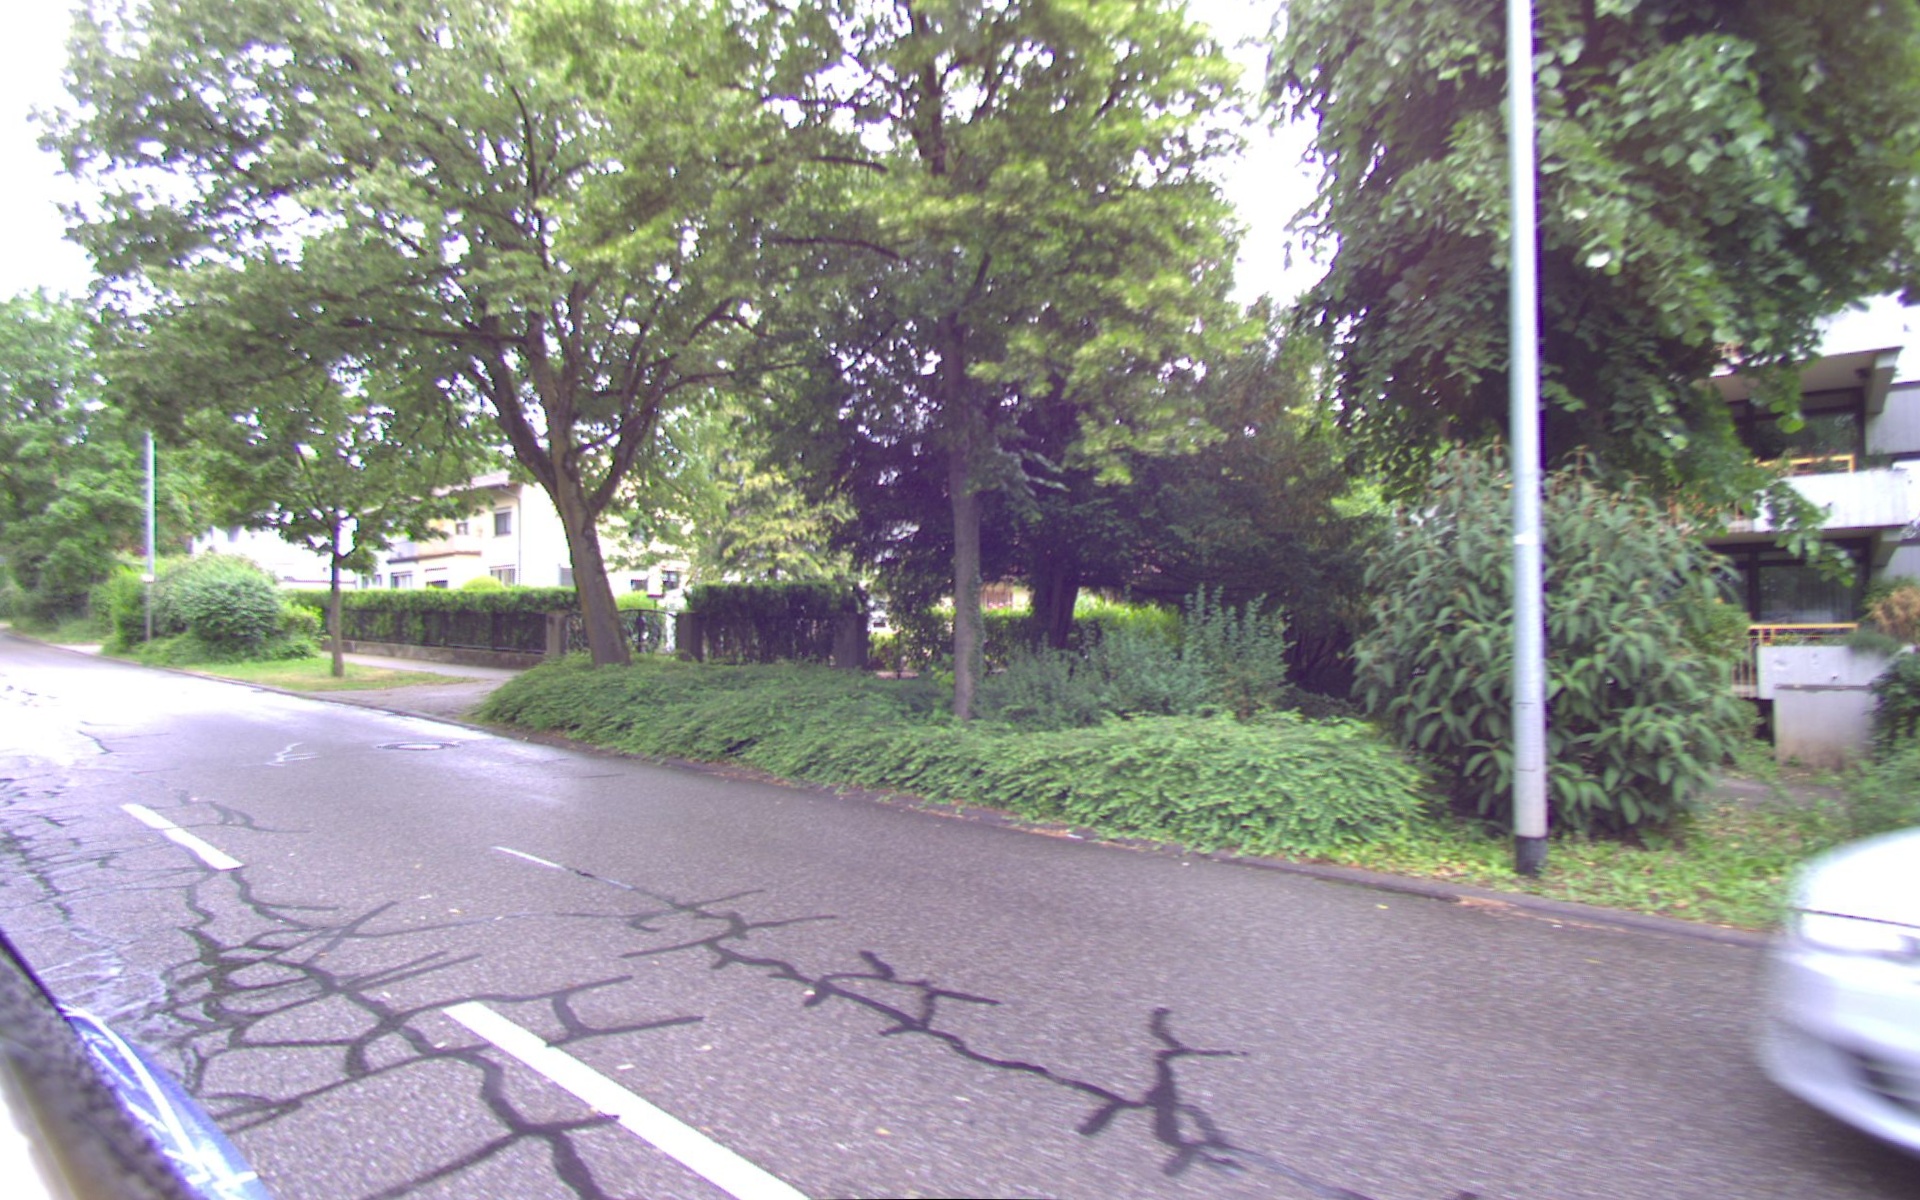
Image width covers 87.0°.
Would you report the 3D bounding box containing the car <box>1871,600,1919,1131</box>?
[{"bbox_3d":[4.242,0.683,1.620,4.004,1.438,1.592,-2,-3,39],"label":"car"}]
